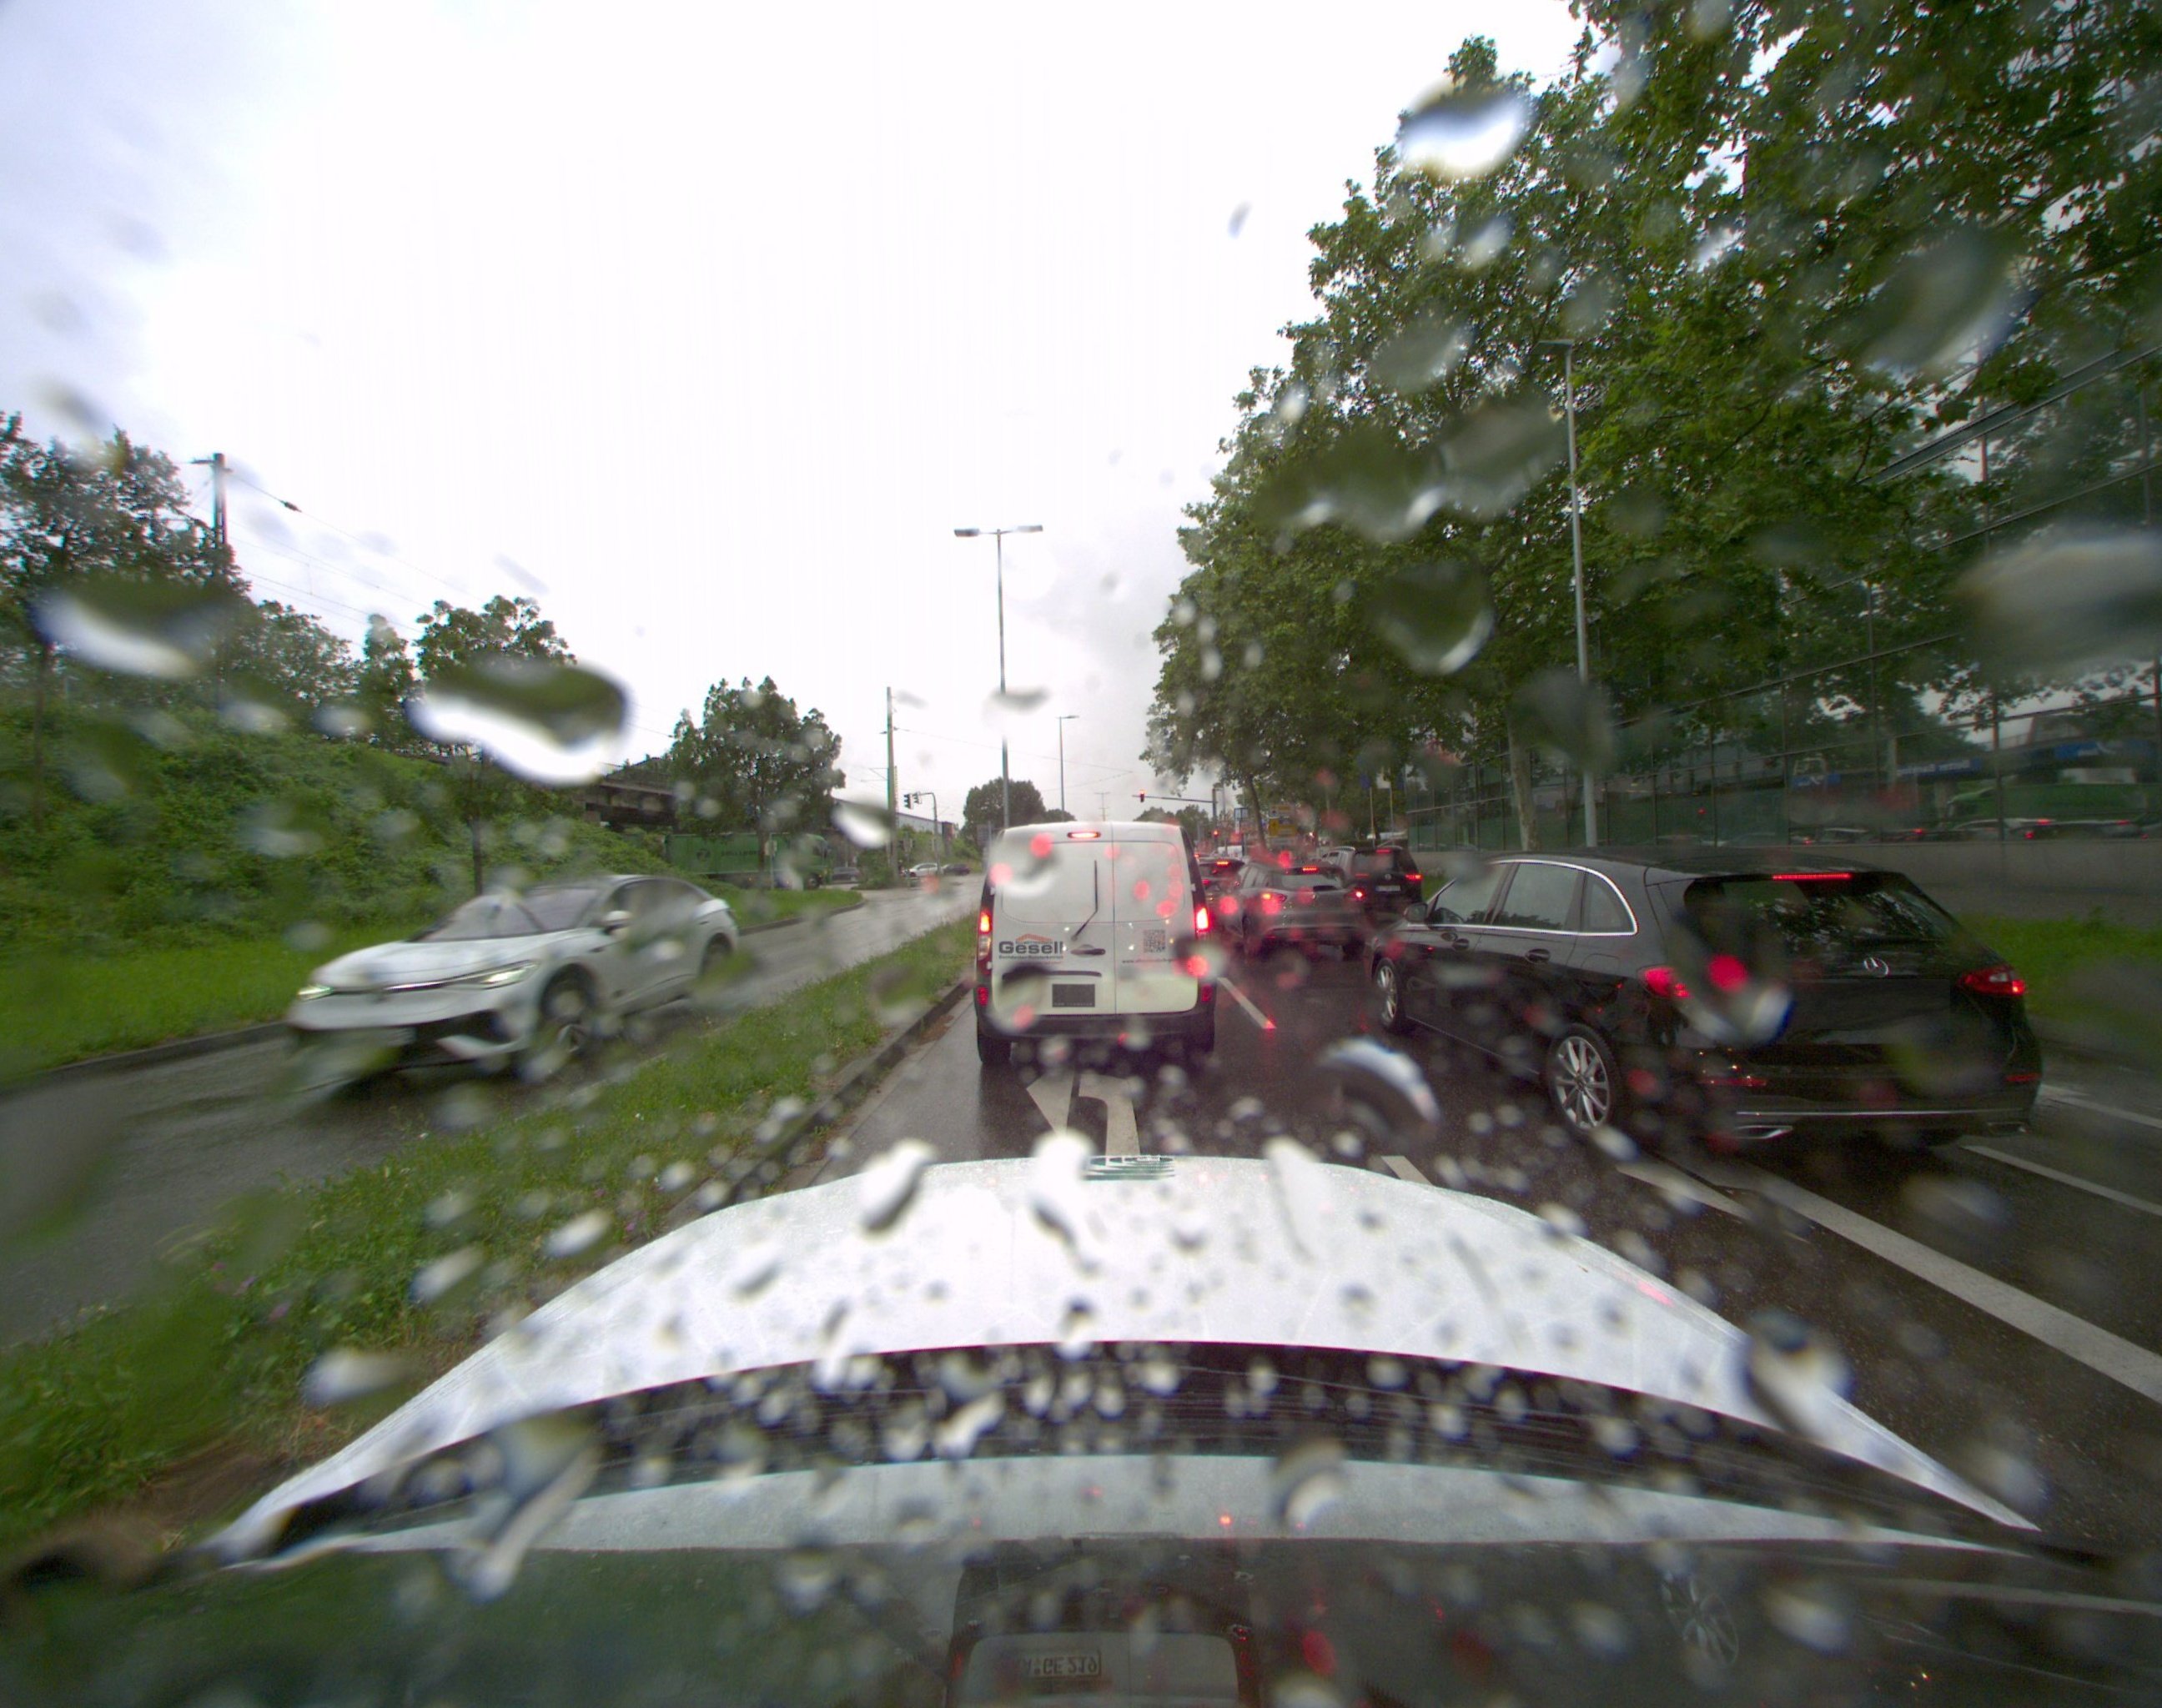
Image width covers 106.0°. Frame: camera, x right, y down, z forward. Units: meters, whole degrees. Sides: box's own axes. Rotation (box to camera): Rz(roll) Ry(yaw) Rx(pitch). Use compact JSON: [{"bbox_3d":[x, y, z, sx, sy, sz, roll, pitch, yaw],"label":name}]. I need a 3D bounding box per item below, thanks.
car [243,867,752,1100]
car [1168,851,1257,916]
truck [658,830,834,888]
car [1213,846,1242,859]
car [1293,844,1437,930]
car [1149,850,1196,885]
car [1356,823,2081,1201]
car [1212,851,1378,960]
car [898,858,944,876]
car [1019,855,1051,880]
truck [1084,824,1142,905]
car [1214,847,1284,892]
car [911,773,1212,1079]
[{"bbox_3d":[-5.254,1.009,8.284,1.956,1.525,4.334,-3,1,0],"label":"car"},{"bbox_3d":[3.223,0.676,20.671,1.705,1.445,4.001,-1,0,2],"label":"car"},{"bbox_3d":[-21.368,0.340,52.406,10.184,3.452,2.629,0,-2,-36],"label":"truck"},{"bbox_3d":[20.817,-0.176,115.764,3.961,1.713,1.778,-1,-2,11],"label":"car"},{"bbox_3d":[6.359,0.702,18.773,1.850,1.726,4.190,-1,-1,0],"label":"car"},{"bbox_3d":[3.957,0.556,35.876,1.705,1.445,4.001,-1,0,2],"label":"car"},{"bbox_3d":[3.365,0.643,5.427,1.703,1.550,4.000,-1,1,0],"label":"car"},{"bbox_3d":[3.241,0.701,13.113,1.705,1.445,4.001,-1,0,2],"label":"car"},{"bbox_3d":[-15.443,1.277,78.746,4.014,1.585,1.700,-2,0,-32],"label":"car"},{"bbox_3d":[-3.173,0.896,56.678,1.819,1.568,4.002,-3,0,2],"label":"car"},{"bbox_3d":[0.996,0.342,27.146,1.751,2.466,3.999,-1,-1,0],"label":"truck"},{"bbox_3d":[6.272,0.569,30.805,1.833,1.537,4.111,-1,-1,1],"label":"car"},{"bbox_3d":[-0.120,0.478,7.469,1.987,2.013,4.000,-1,0,0],"label":"car"}]
